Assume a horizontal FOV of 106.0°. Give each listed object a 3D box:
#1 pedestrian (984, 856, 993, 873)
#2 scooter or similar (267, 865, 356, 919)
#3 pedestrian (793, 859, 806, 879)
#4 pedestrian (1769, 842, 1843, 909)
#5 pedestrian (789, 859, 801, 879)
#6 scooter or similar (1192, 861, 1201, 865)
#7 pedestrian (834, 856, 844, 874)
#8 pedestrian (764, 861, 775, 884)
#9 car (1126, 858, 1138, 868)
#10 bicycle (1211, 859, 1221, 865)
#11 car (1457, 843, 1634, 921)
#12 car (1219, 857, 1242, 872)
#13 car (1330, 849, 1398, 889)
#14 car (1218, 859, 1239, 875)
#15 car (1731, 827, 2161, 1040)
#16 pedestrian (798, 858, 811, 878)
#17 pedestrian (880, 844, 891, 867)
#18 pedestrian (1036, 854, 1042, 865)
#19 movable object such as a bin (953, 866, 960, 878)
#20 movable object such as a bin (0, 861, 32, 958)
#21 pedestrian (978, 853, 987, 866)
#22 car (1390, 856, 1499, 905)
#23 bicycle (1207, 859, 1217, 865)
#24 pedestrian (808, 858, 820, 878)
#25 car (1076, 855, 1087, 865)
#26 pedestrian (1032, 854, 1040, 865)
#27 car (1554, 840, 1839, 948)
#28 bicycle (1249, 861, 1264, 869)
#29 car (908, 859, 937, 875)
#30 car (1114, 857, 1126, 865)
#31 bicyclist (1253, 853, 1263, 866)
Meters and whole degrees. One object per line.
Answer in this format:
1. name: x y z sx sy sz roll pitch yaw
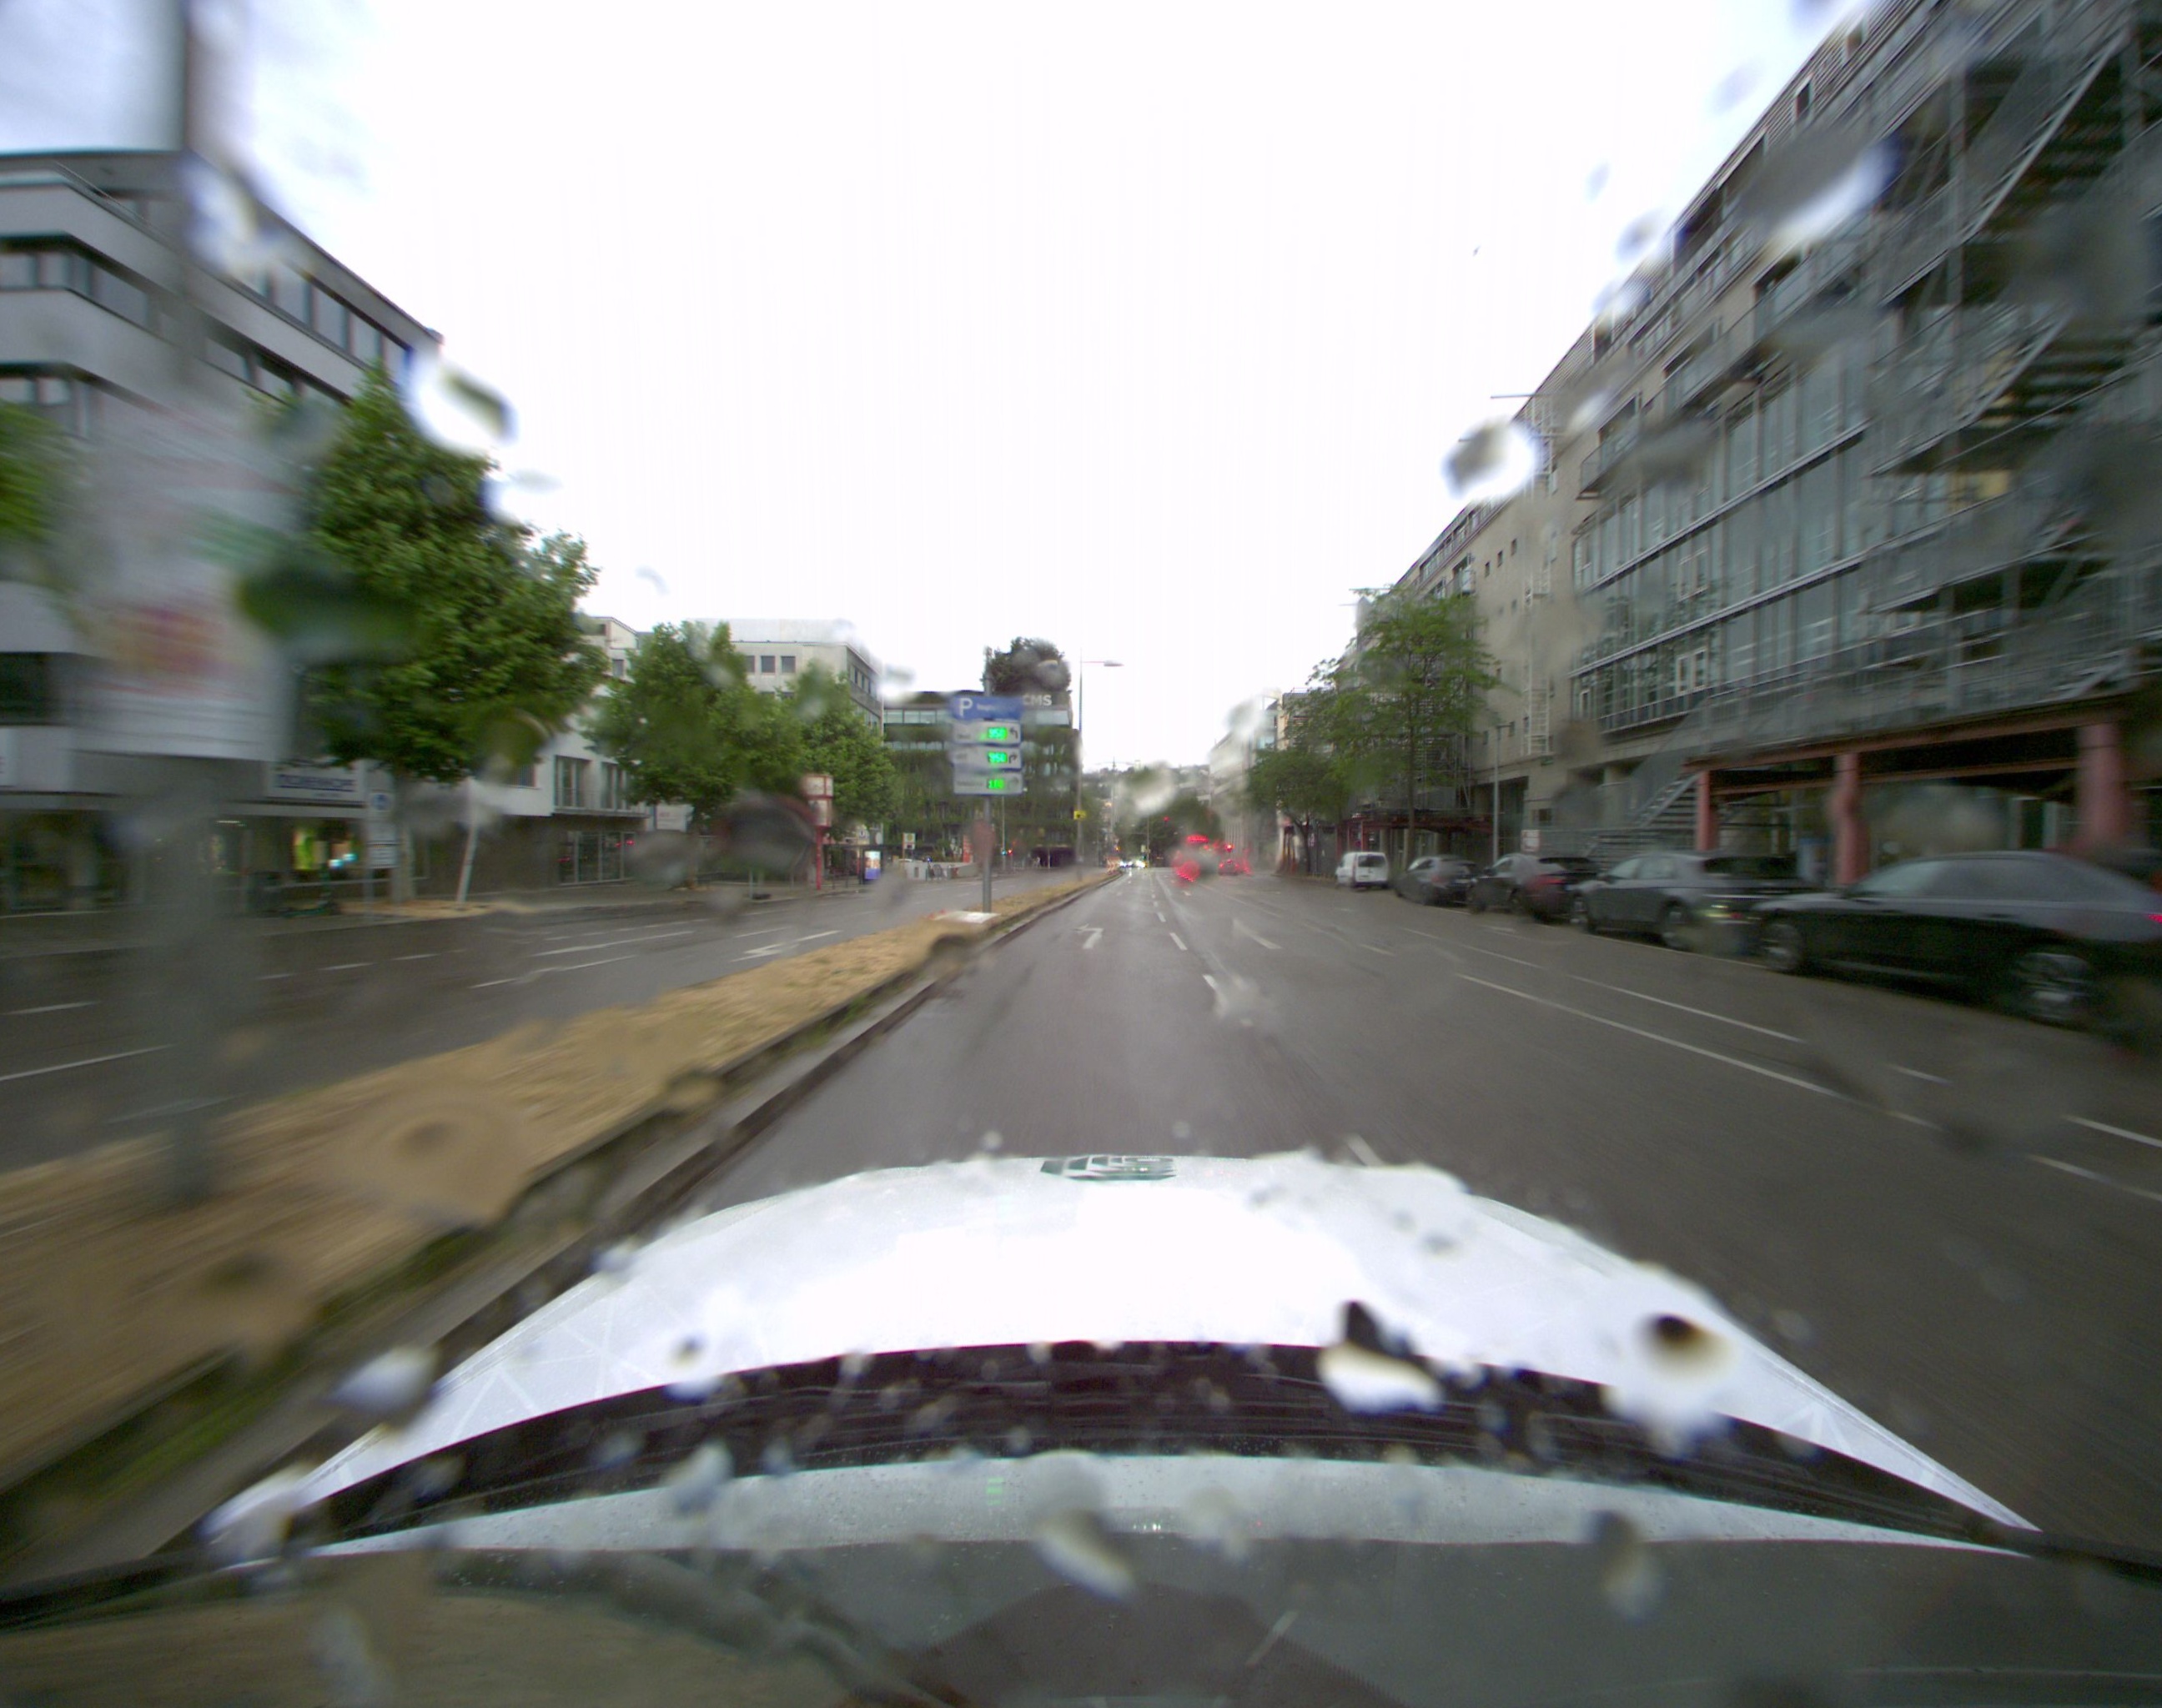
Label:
1. pedestrian: -10.515 1.145 92.330 0.803 1.885 0.866 -4 -1 -2
2. scooter or similar: -18.151 0.884 19.247 0.771 1.121 1.326 2 3 6
3. pedestrian: -20.479 1.107 59.231 0.686 1.450 0.583 0 -1 1
4. pedestrian: 17.754 0.524 19.974 0.815 1.596 1.113 0 0 0
5. pedestrian: -20.556 1.076 58.591 0.687 1.450 0.547 0 -1 0
6. scooter or similar: 22.983 1.765 162.131 1.748 0.878 0.487 -1 -1 -15
7. pedestrian: -19.725 0.904 66.310 0.600 1.450 0.588 0 -1 -1
8. pedestrian: -21.643 1.265 56.590 0.595 1.571 0.604 -1 -1 -5
9. car: 8.954 1.543 141.915 1.984 1.550 4.562 -1 0 5
10. bicycle: 24.460 1.452 147.217 0.478 0.934 1.778 0 -1 -44
11. car: 10.993 0.607 19.749 1.983 1.646 4.871 -1 0 7
12. car: 15.997 1.124 86.966 1.689 1.529 4.449 -1 0 20
13. car: 13.184 0.662 38.209 1.984 1.750 4.532 0 0 5
14. car: 14.437 1.267 79.812 1.769 1.540 4.155 0 0 7
15. car: 9.412 0.588 8.264 1.982 1.601 5.301 -1 0 8
16. pedestrian: -20.477 1.054 60.281 0.724 1.450 0.691 0 -1 -2
17. pedestrian: -15.905 0.123 66.117 0.687 1.885 0.758 0 -1 0
18. pedestrian: -6.563 0.877 127.075 0.743 1.758 0.970 0 -1 -19
19. movable object such as a bin: -9.796 1.431 64.100 0.530 0.898 0.681 -2 0 -5
20. movable object such as a bin: -16.580 0.820 11.805 1.353 1.426 1.090 0 -1 4
21. pedestrian: -11.716 0.655 97.050 0.917 1.585 0.834 -4 -1 0
22. car: 11.677 0.786 26.519 1.859 1.437 4.930 -1 0 7
23. bicycle: 23.639 1.457 146.637 0.478 0.934 1.778 0 -1 -44
24. pedestrian: -20.205 1.063 61.645 0.631 1.450 0.691 0 -1 -2
25. car: 0.055 1.121 152.595 1.987 1.895 4.465 0 0 1
26. pedestrian: -6.959 0.889 126.986 0.938 1.758 1.164 0 -1 -19
27. car: 10.464 0.604 14.390 1.853 1.601 4.599 -1 0 5
28. bicycle: 26.319 1.681 121.945 0.797 1.117 2.231 0 -1 -36
29. car: -20.027 1.642 103.060 3.447 1.922 1.994 0 0 -8
30. car: 7.134 1.297 148.074 1.851 1.448 4.618 -1 0 -1
31. bicyclist: 26.461 0.821 121.750 0.797 1.975 1.102 0 -1 -36
